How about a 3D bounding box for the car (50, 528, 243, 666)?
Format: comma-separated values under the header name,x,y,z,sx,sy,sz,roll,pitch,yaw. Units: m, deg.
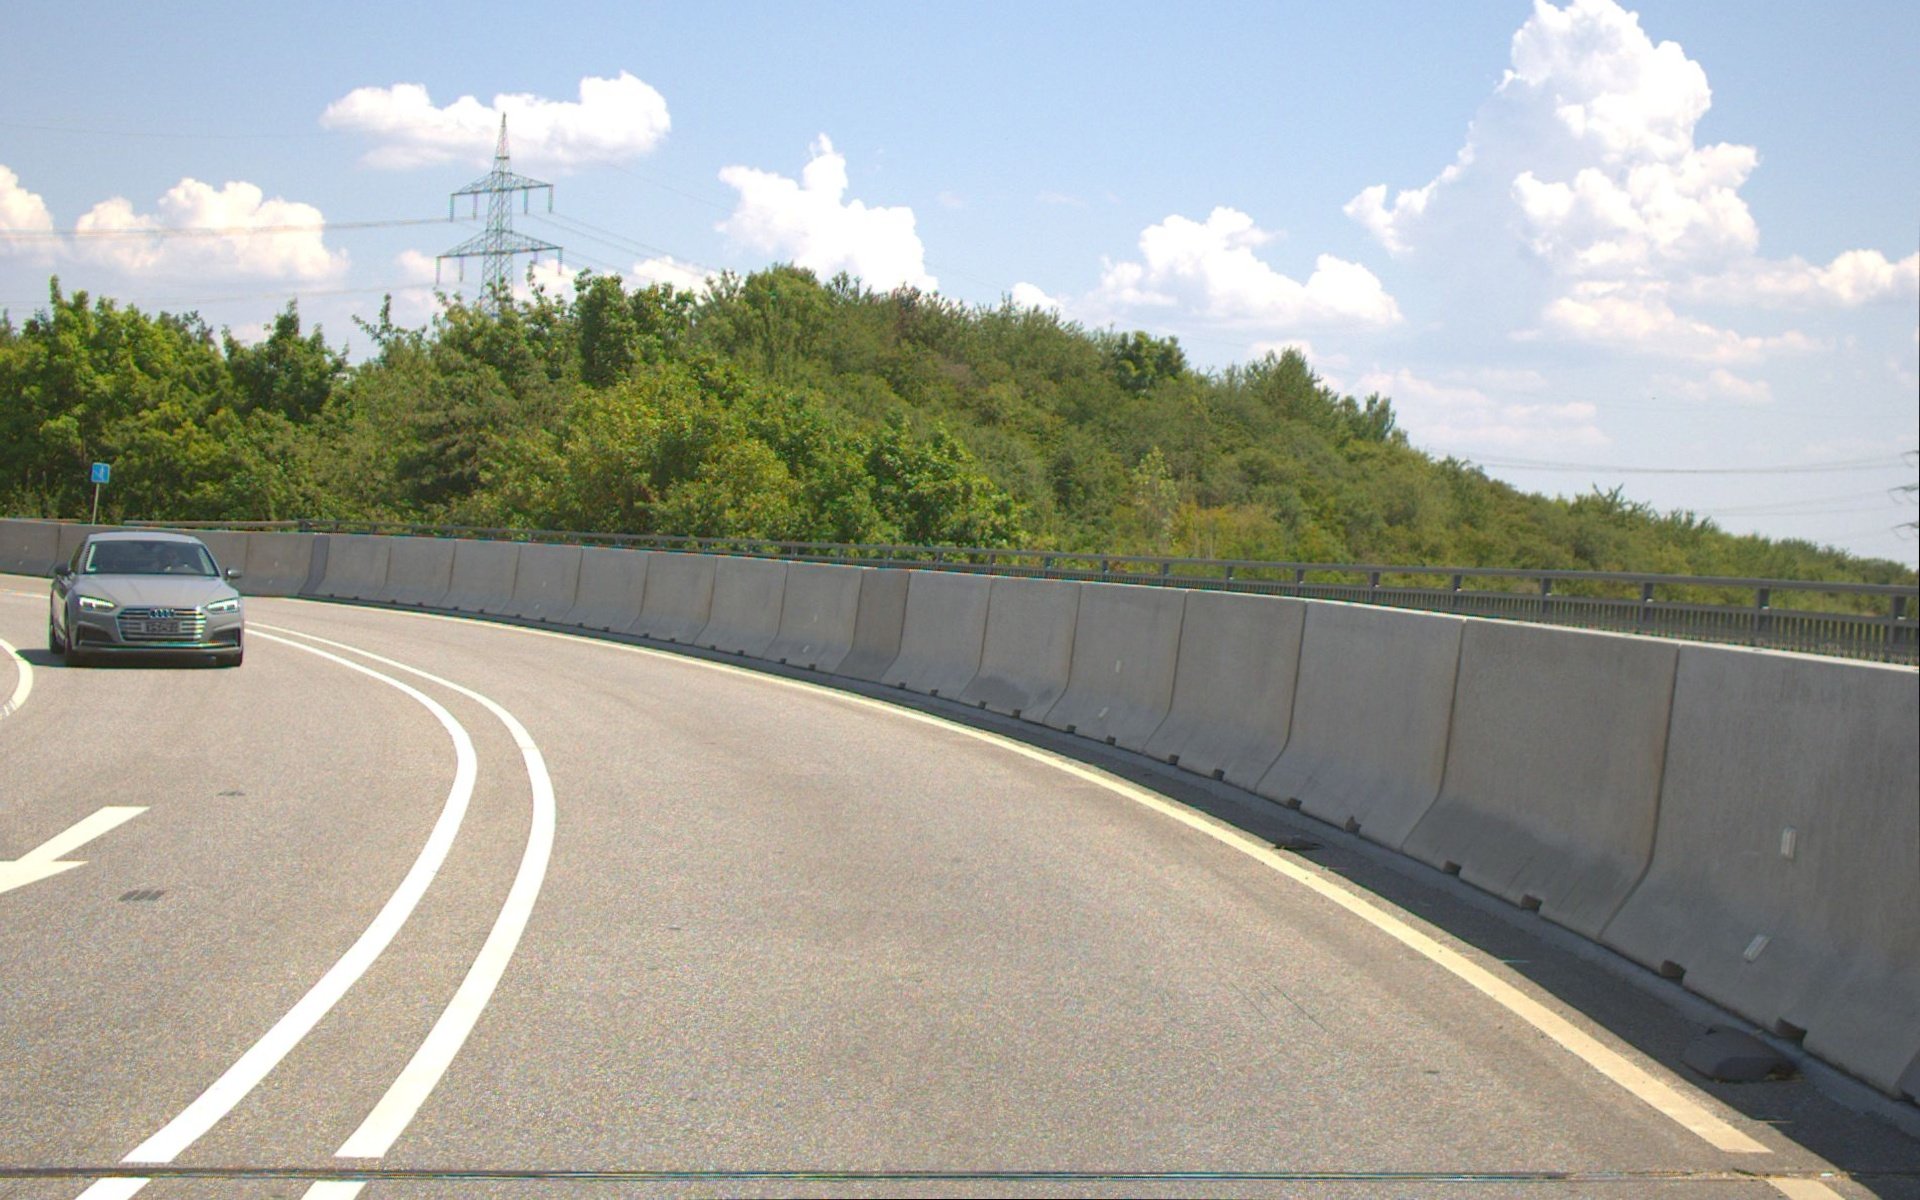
name,x,y,z,sx,sy,sz,roll,pitch,yaw
car,-8.967,-0.070,37.683,1.778,1.380,4.283,1,1,-17
